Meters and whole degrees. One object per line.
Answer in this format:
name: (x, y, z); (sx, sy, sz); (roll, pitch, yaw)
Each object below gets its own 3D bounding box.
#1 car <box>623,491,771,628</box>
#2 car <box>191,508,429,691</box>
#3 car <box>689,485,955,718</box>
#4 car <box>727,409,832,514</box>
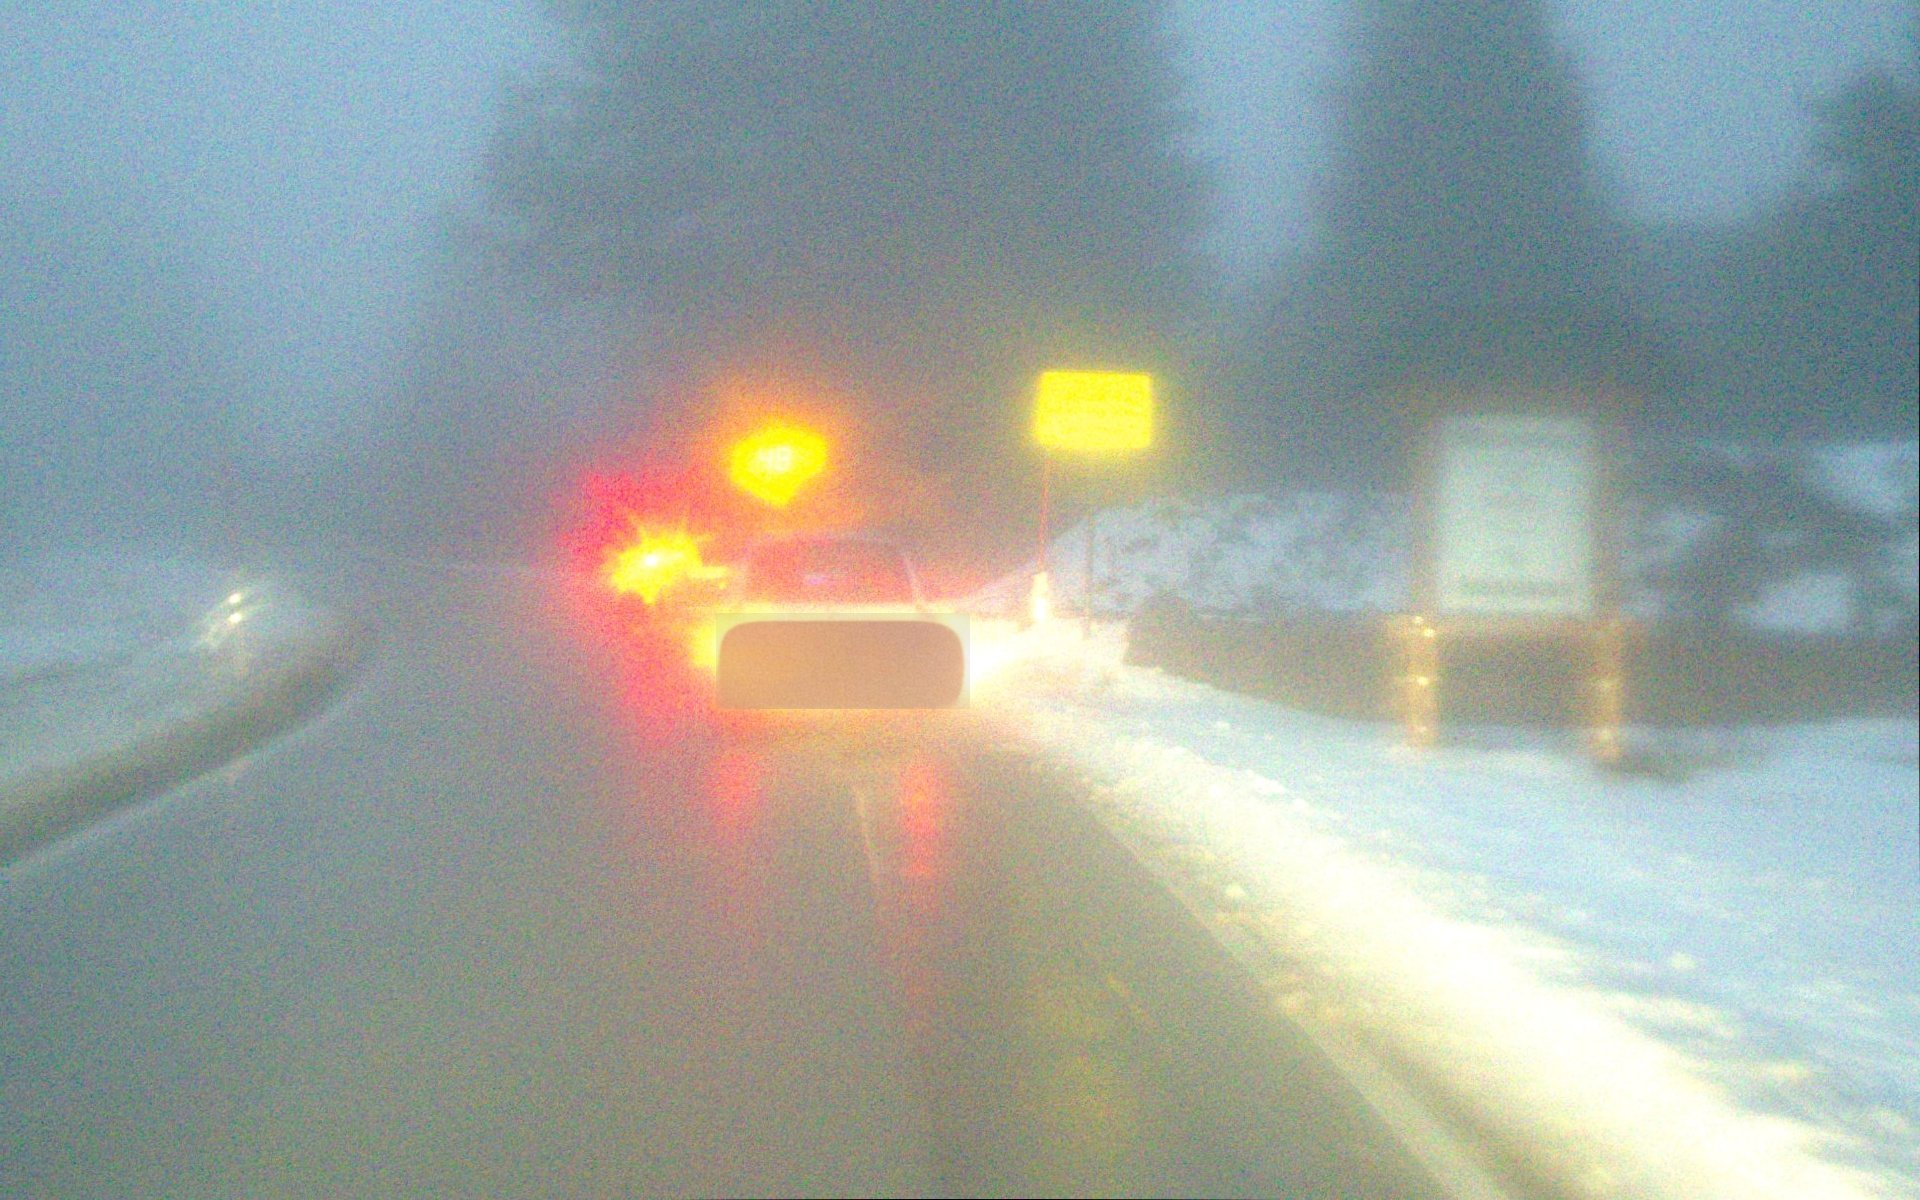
car: (-2.973, -0.477, 39.287); (1.478, 1.503, 3.053); (0, 1, -1)
car: (-5.593, -0.018, 29.874); (1.522, 1.503, 3.053); (0, 1, -1)
car: (-1.075, 0.030, 25.469); (1.706, 1.458, 4.000); (5, -1, -4)
car: (-2.734, -2.093, 52.599); (1.478, 1.503, 3.053); (0, 1, -1)
